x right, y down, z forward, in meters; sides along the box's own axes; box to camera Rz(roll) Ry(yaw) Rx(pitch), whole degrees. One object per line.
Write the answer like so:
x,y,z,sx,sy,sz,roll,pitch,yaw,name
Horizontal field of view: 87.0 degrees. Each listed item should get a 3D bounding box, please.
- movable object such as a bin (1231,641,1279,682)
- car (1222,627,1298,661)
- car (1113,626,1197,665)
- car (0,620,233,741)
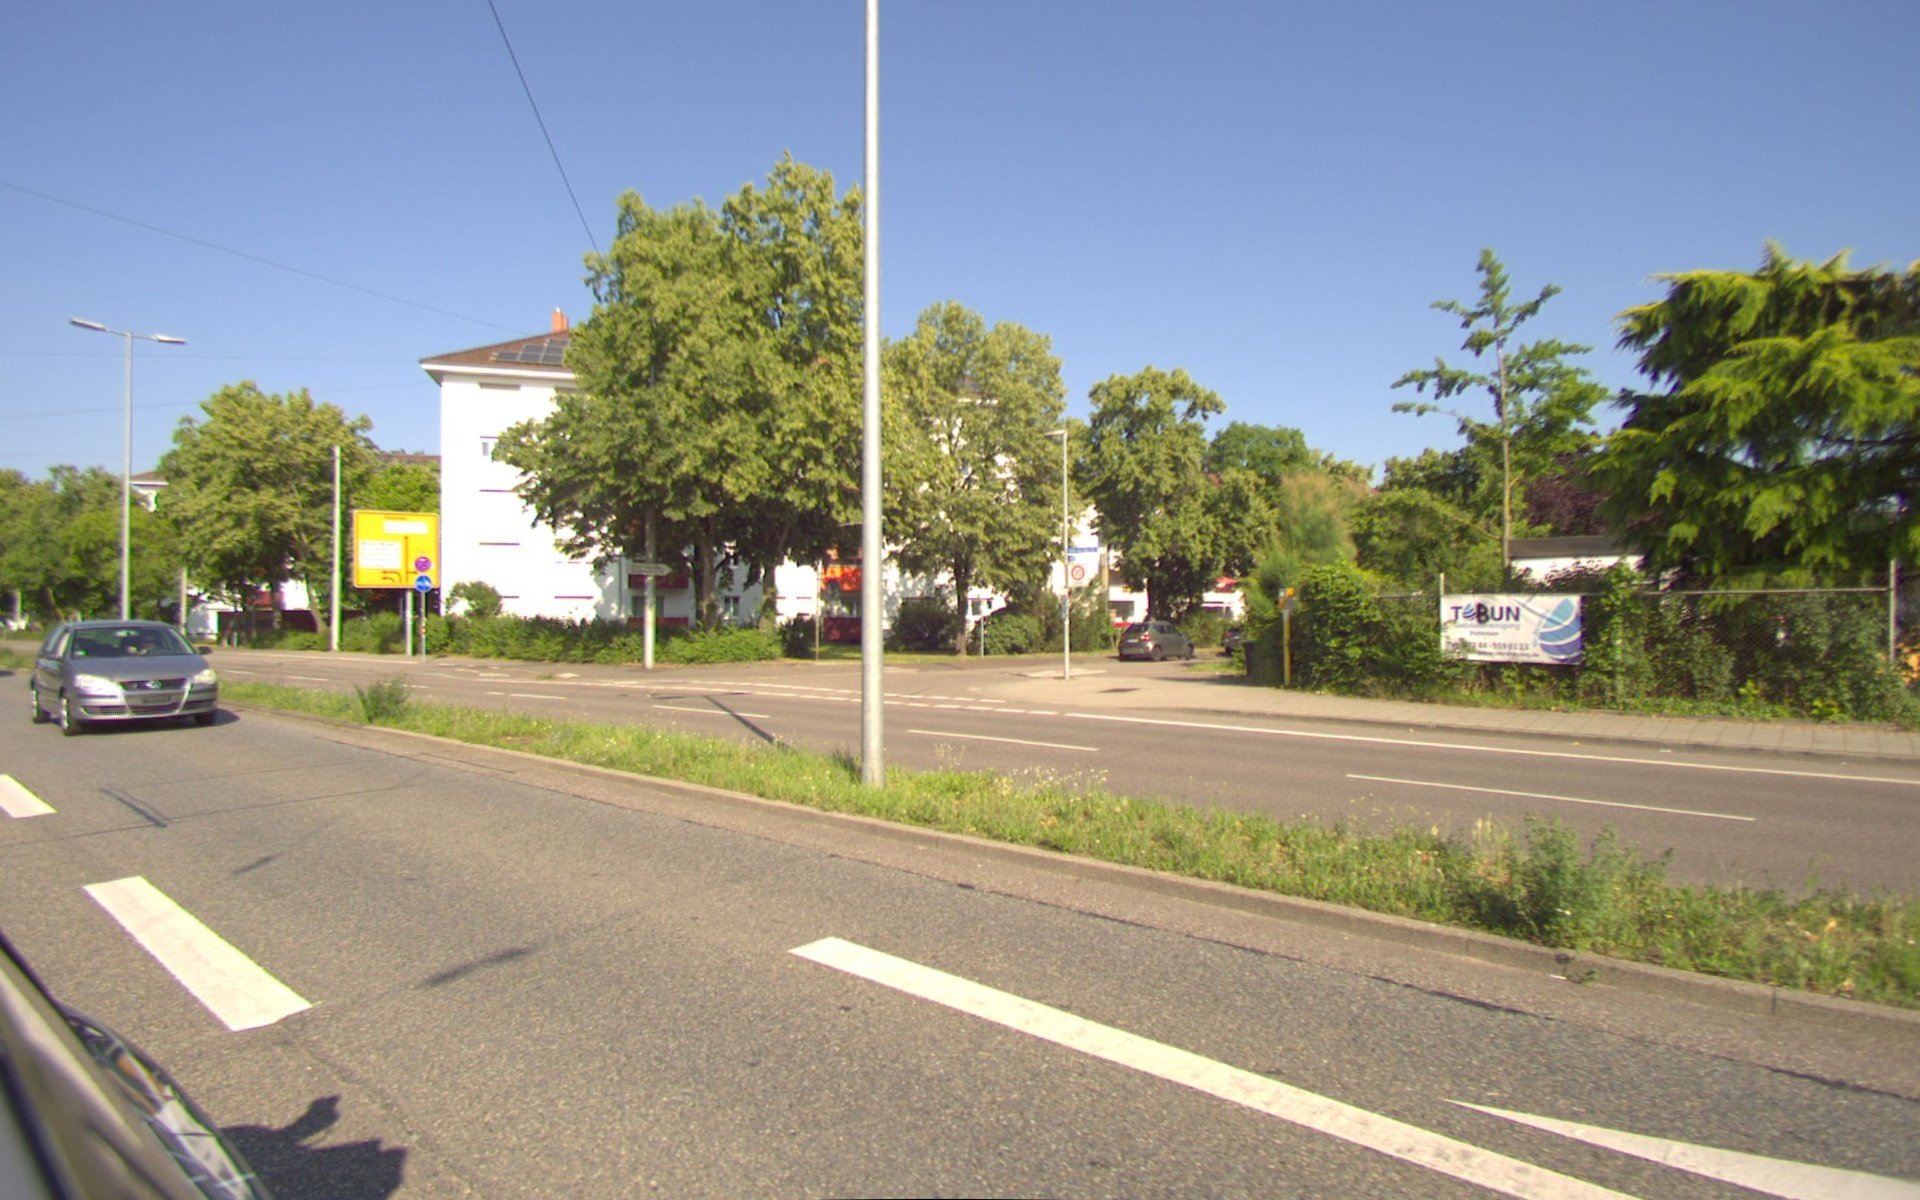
7.128,1.472,24.439,0.852,0.938,0.808,-2,-2,40,movable object such as a bin
14.003,2.010,47.170,1.787,1.521,3.943,-2,-2,43,car
7.886,1.787,40.722,1.758,1.498,3.514,-2,-2,42,car
-11.851,1.032,14.144,3.826,1.439,1.673,-1,-1,37,car
